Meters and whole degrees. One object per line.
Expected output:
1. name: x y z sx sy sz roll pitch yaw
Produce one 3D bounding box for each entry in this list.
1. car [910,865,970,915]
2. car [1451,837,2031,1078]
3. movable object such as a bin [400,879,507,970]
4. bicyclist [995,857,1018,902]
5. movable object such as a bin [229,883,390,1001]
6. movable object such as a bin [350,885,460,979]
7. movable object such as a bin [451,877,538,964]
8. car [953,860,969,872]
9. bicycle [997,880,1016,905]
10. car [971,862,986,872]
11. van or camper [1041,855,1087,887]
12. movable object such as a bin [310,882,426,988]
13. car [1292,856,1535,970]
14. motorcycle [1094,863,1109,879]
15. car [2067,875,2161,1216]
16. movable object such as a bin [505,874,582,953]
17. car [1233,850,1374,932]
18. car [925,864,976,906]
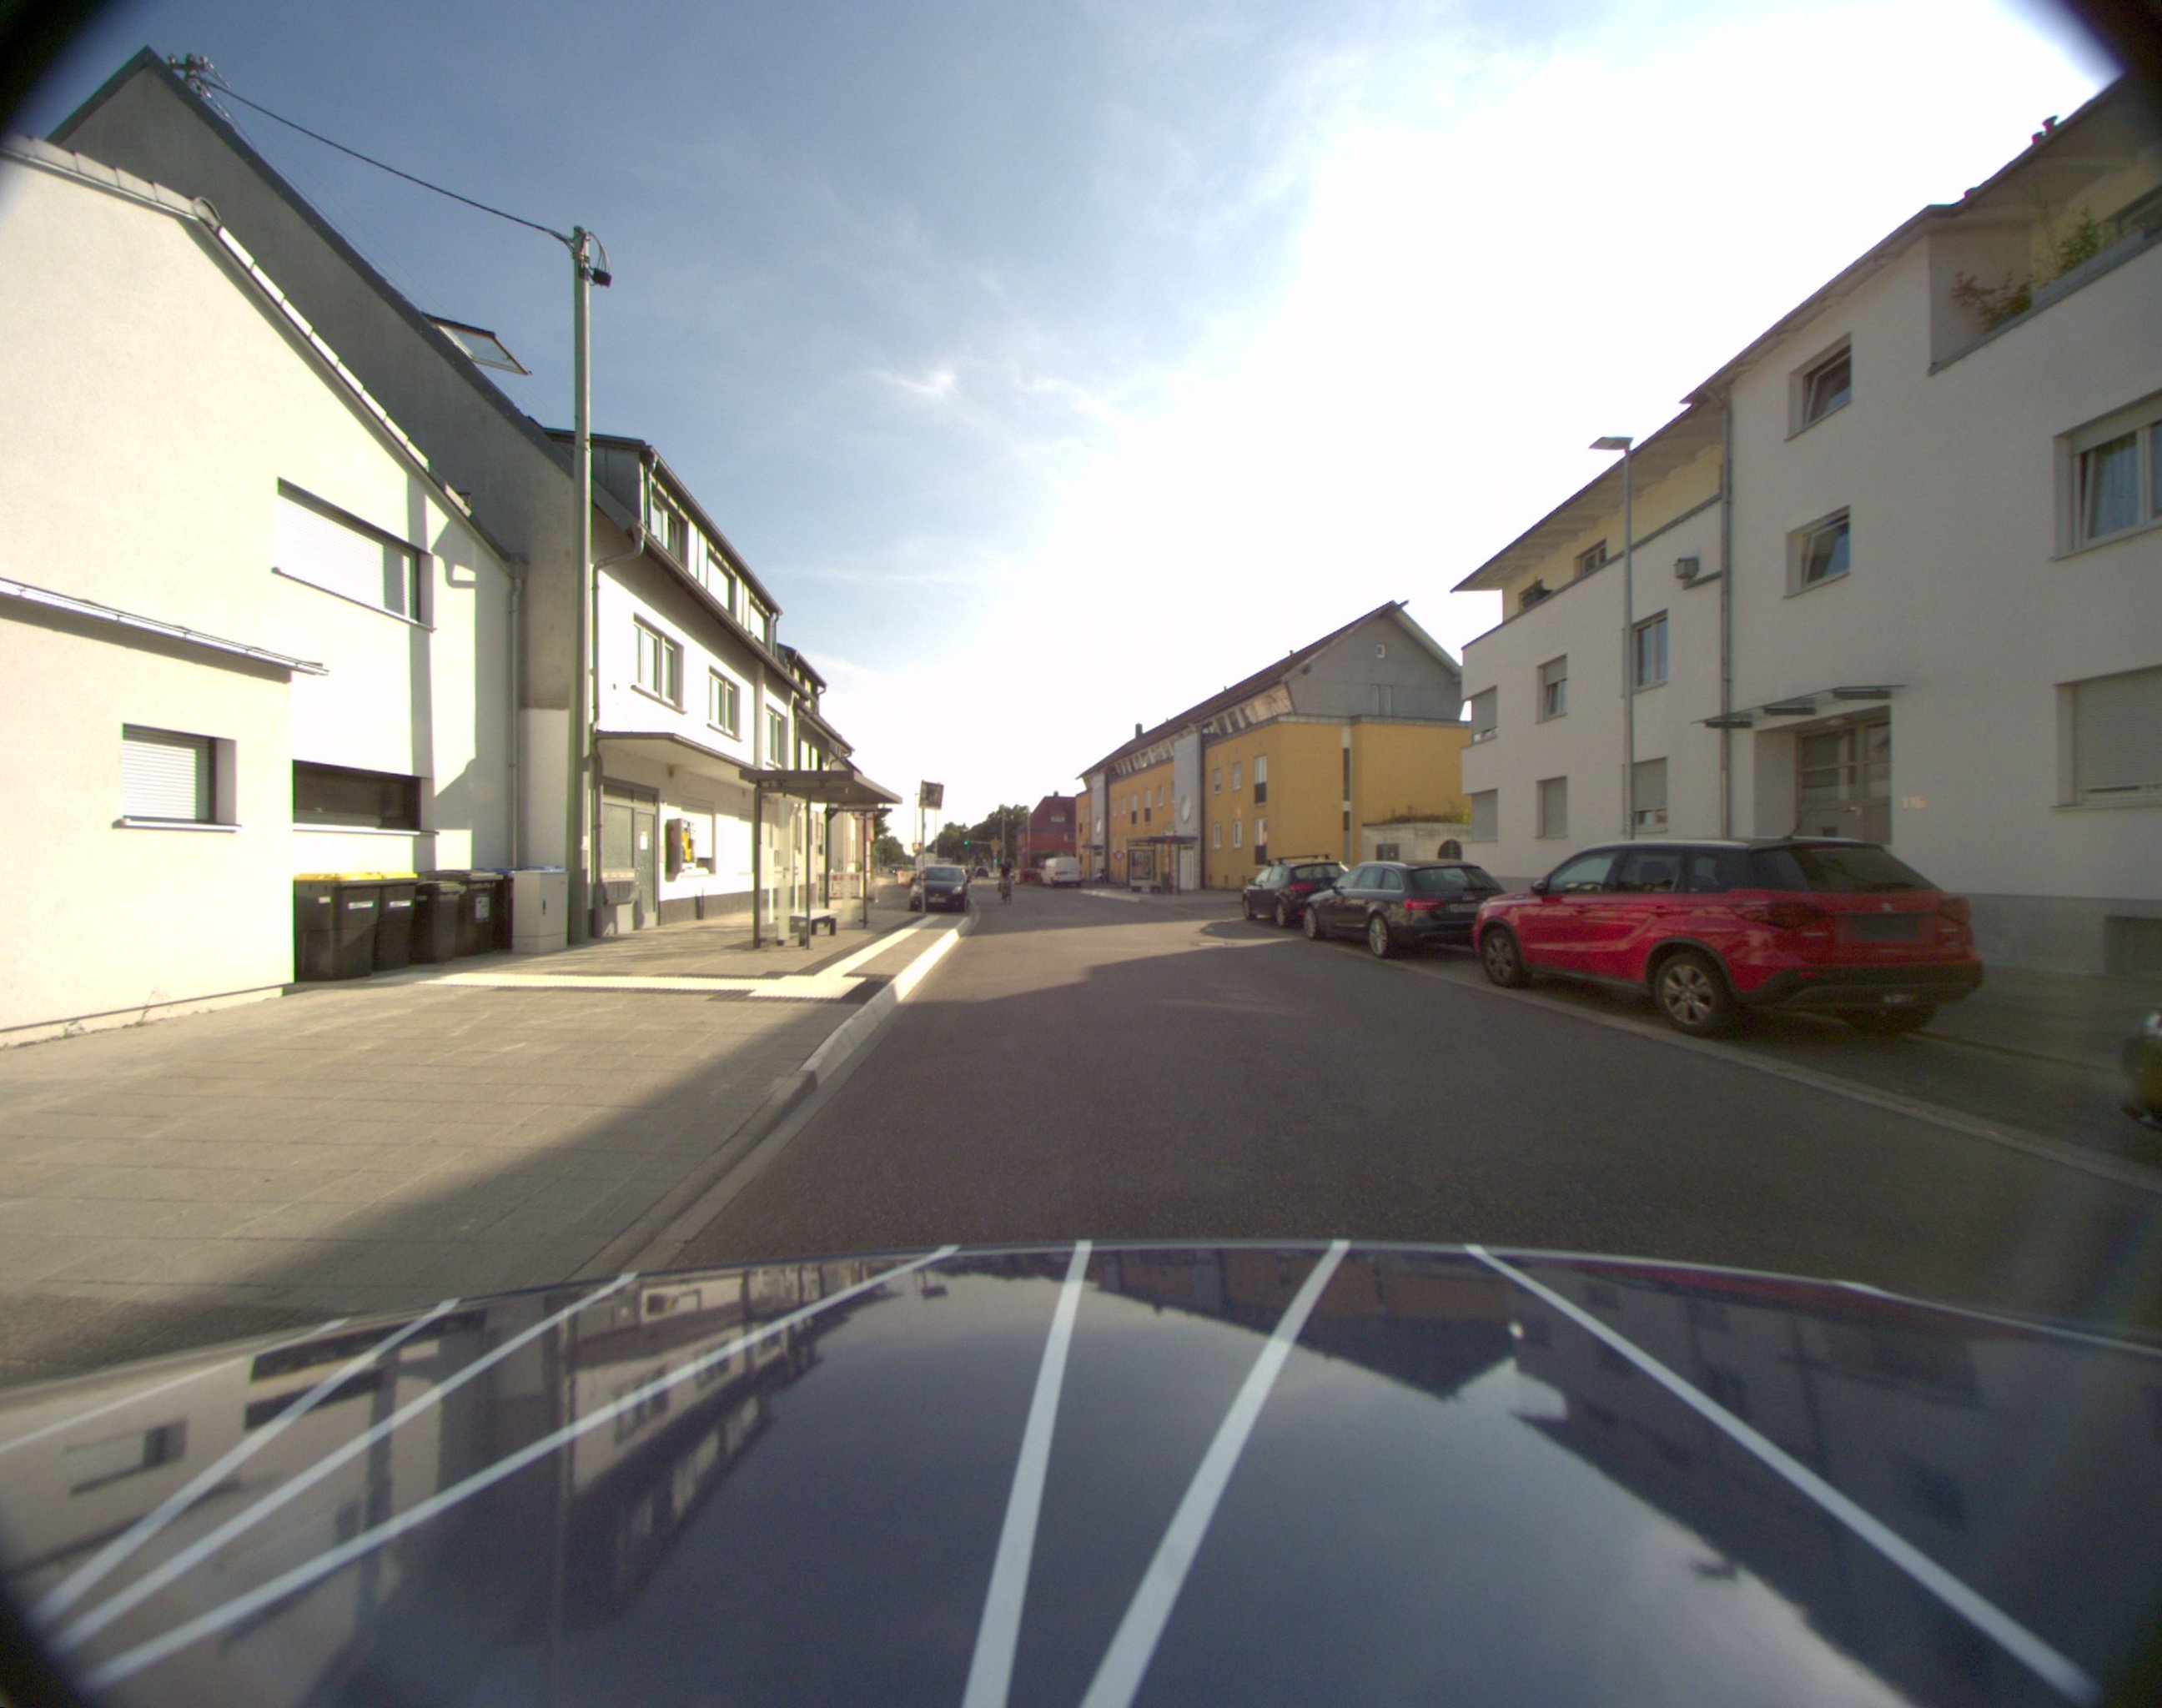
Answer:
1. car: -4.457 1.087 24.447 1.613 1.412 3.917 0 0 -7
2. car: 5.554 0.716 7.306 1.732 1.612 4.262 -1 0 -3
3. movable object such as a bin: -7.648 0.850 9.288 0.814 1.053 0.602 0 0 -2
4. bicyclist: -2.848 0.951 29.083 0.846 1.679 0.877 -1 0 -6
5. movable object such as a bin: -7.621 0.848 7.550 0.814 1.087 0.767 0 0 -2
6. movable object such as a bin: -7.674 0.874 8.644 0.814 1.030 0.470 0 0 -2
7. movable object such as a bin: -7.634 0.847 9.912 0.698 1.087 0.558 0 0 -4
8. car: -16.895 1.666 106.727 1.984 1.520 3.996 -1 0 -13
9. bicycle: -2.840 1.470 29.037 0.680 0.849 2.026 -1 0 -6
10. car: -15.379 1.883 114.111 1.796 1.433 3.996 -1 0 -13
11. van or camper: -1.207 1.096 51.138 2.001 1.991 4.915 -1 0 -14
12. movable object such as a bin: -7.654 0.856 8.172 0.814 1.087 0.443 0 0 -2
13. car: 5.120 0.797 12.496 1.732 1.469 4.501 -2 0 -4
14. motorcycle: 1.561 1.307 57.481 0.584 1.176 1.875 -1 0 -16
15. car: 5.653 0.825 1.523 1.732 1.469 4.262 -1 0 -3
16. movable object such as a bin: -7.609 0.829 10.772 0.698 1.087 0.559 0 0 -2
17. car: 5.069 0.775 17.937 1.781 1.612 4.176 -3 0 -4
18. car: -5.070 1.152 29.346 1.721 1.389 4.330 3 -1 -11
